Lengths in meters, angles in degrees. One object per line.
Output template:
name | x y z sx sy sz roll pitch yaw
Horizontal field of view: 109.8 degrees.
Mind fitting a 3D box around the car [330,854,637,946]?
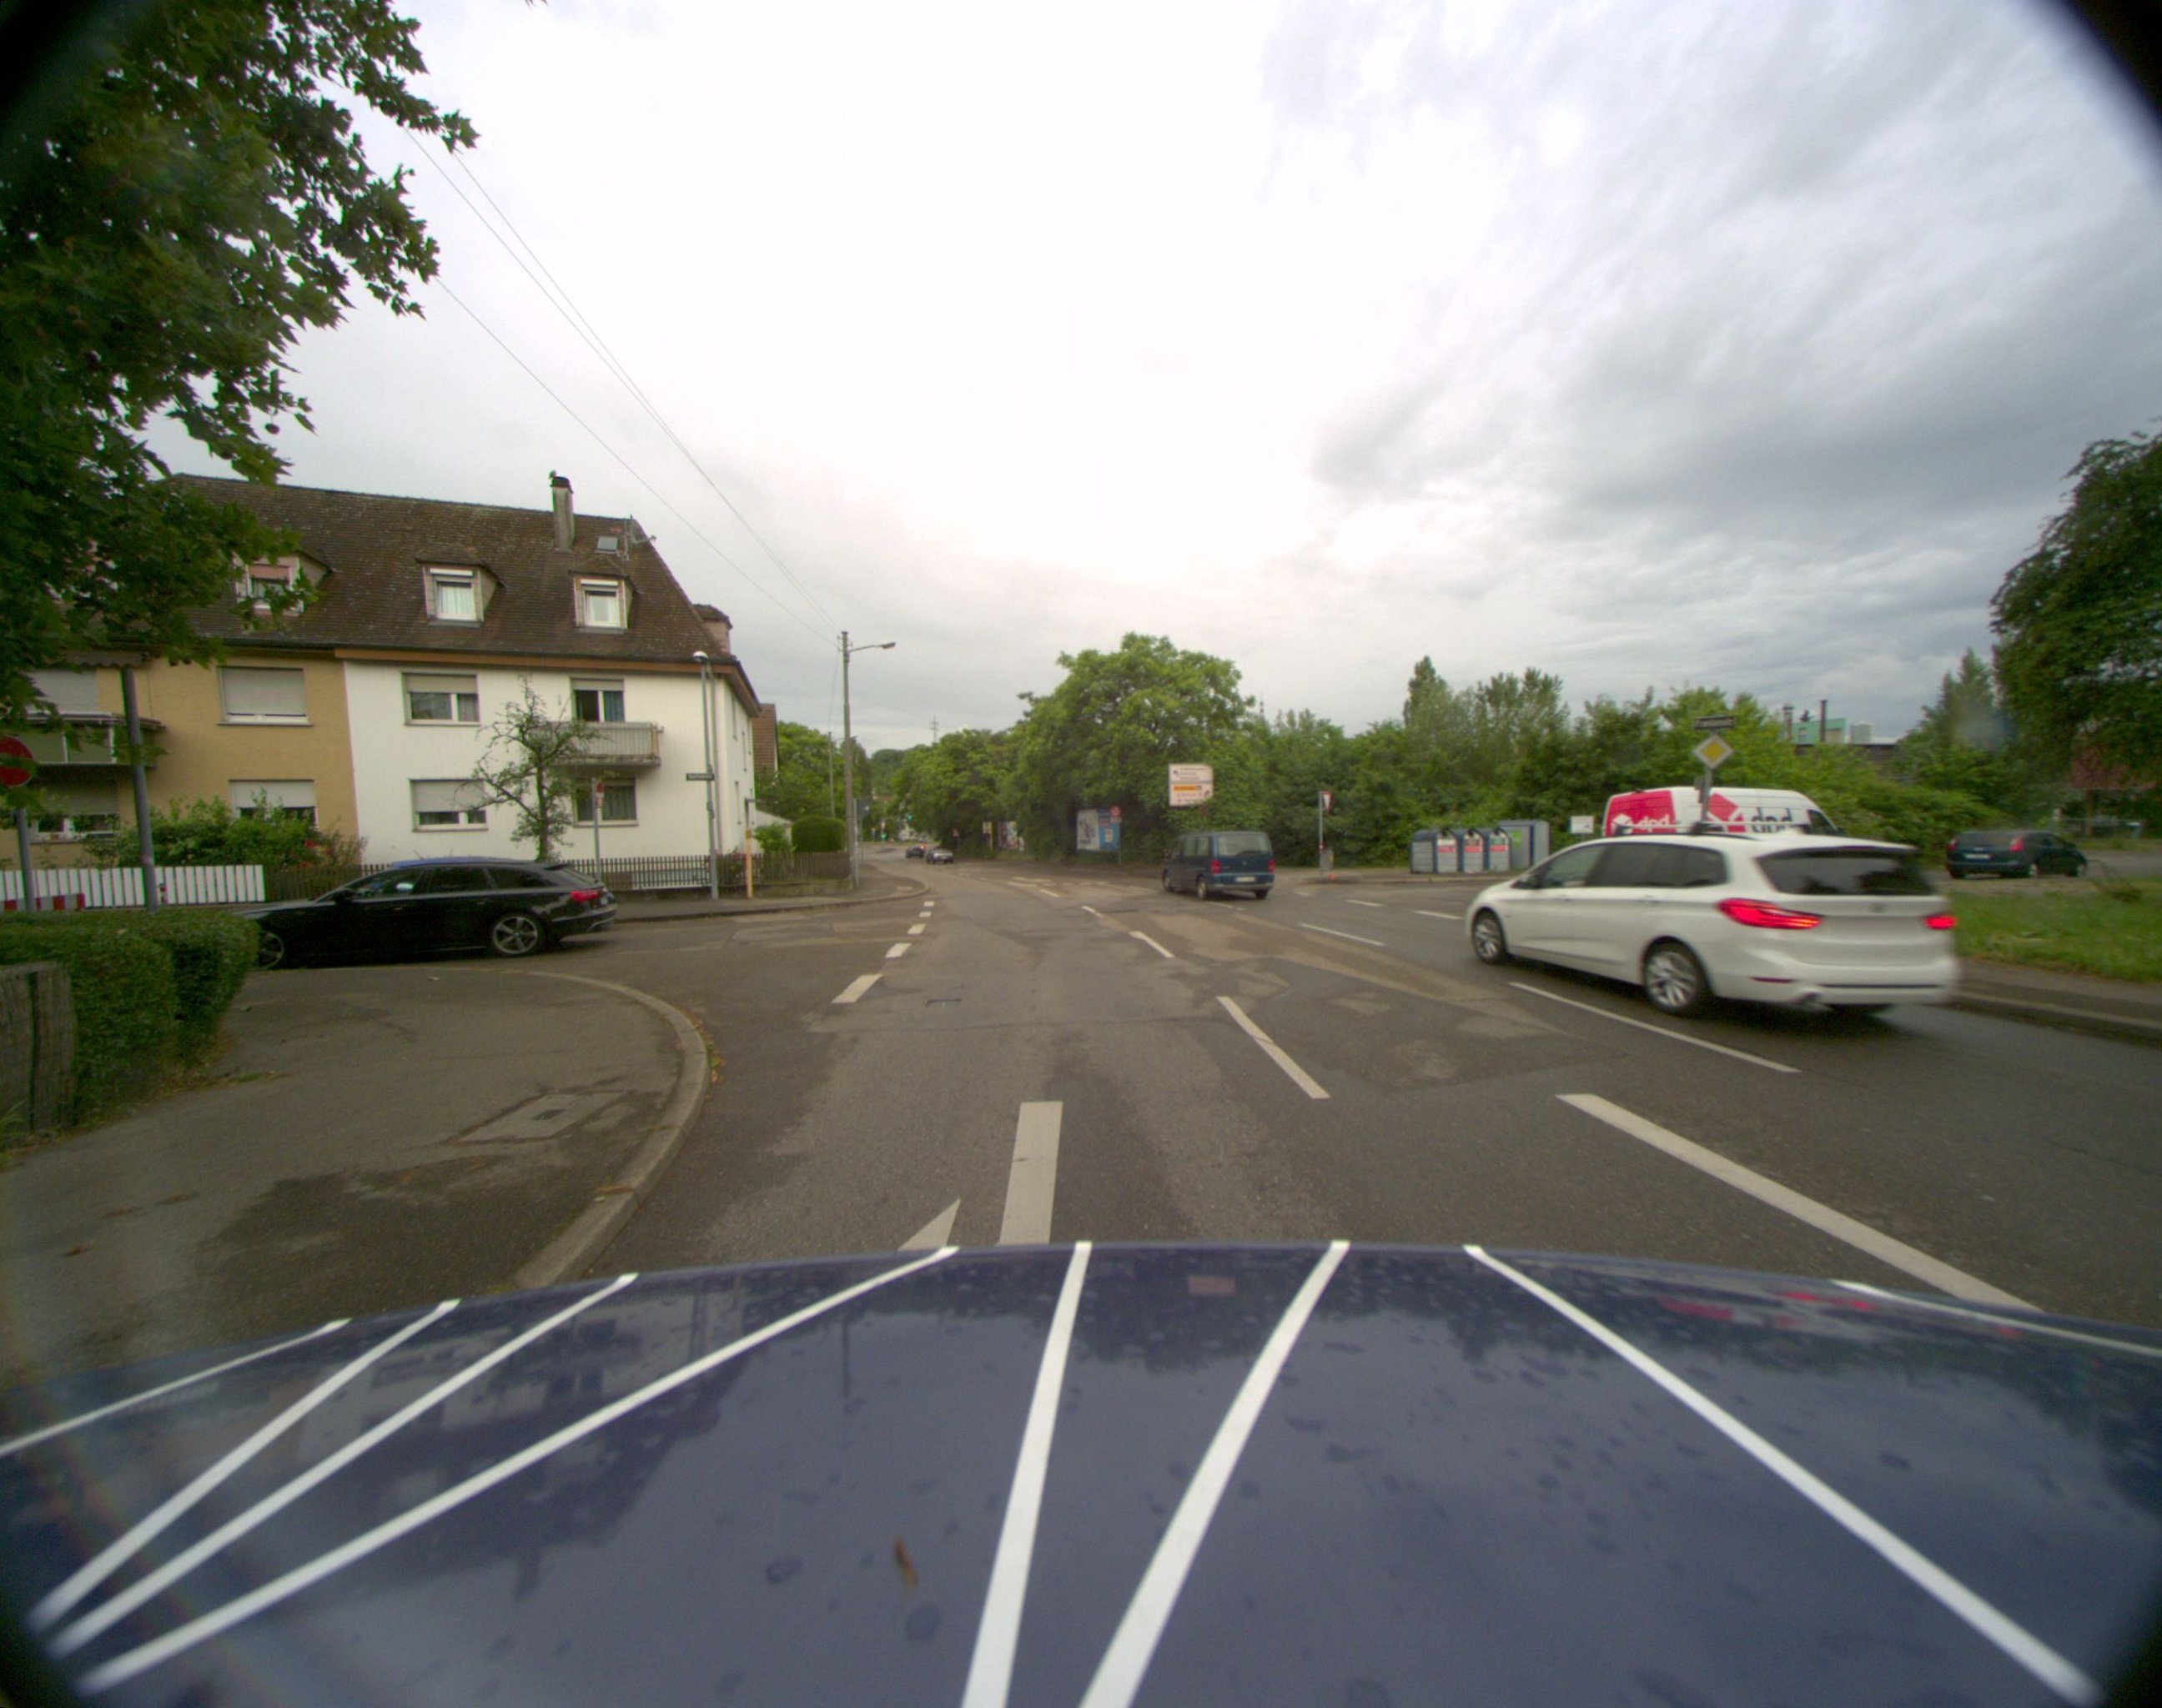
car | -11.016 0.787 14.391 4.129 1.472 1.883 -1 1 -17

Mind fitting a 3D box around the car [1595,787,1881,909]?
car | 16.307 -0.245 18.869 6.829 2.641 2.259 -2 2 -19

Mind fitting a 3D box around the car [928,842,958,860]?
car | -11.866 -0.252 65.280 1.903 1.453 3.992 -1 1 -20

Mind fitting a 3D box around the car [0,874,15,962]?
car | -19.390 1.116 11.259 3.788 1.445 1.769 -2 1 -19

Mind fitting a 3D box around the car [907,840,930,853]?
car | -20.357 -0.911 95.209 2.002 1.434 4.766 1 -1 -22

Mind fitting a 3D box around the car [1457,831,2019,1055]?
car | 5.931 0.662 7.763 1.836 1.569 4.333 -2 0 -3

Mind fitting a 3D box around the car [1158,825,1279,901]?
car | 3.802 0.194 22.005 1.964 1.920 4.678 -1 1 -9

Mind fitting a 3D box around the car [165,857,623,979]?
car | -9.970 0.832 11.644 4.823 1.472 1.882 -1 1 -24

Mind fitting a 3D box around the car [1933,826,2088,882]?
car | 30.329 -0.050 24.808 4.257 1.620 1.996 -2 2 -22
